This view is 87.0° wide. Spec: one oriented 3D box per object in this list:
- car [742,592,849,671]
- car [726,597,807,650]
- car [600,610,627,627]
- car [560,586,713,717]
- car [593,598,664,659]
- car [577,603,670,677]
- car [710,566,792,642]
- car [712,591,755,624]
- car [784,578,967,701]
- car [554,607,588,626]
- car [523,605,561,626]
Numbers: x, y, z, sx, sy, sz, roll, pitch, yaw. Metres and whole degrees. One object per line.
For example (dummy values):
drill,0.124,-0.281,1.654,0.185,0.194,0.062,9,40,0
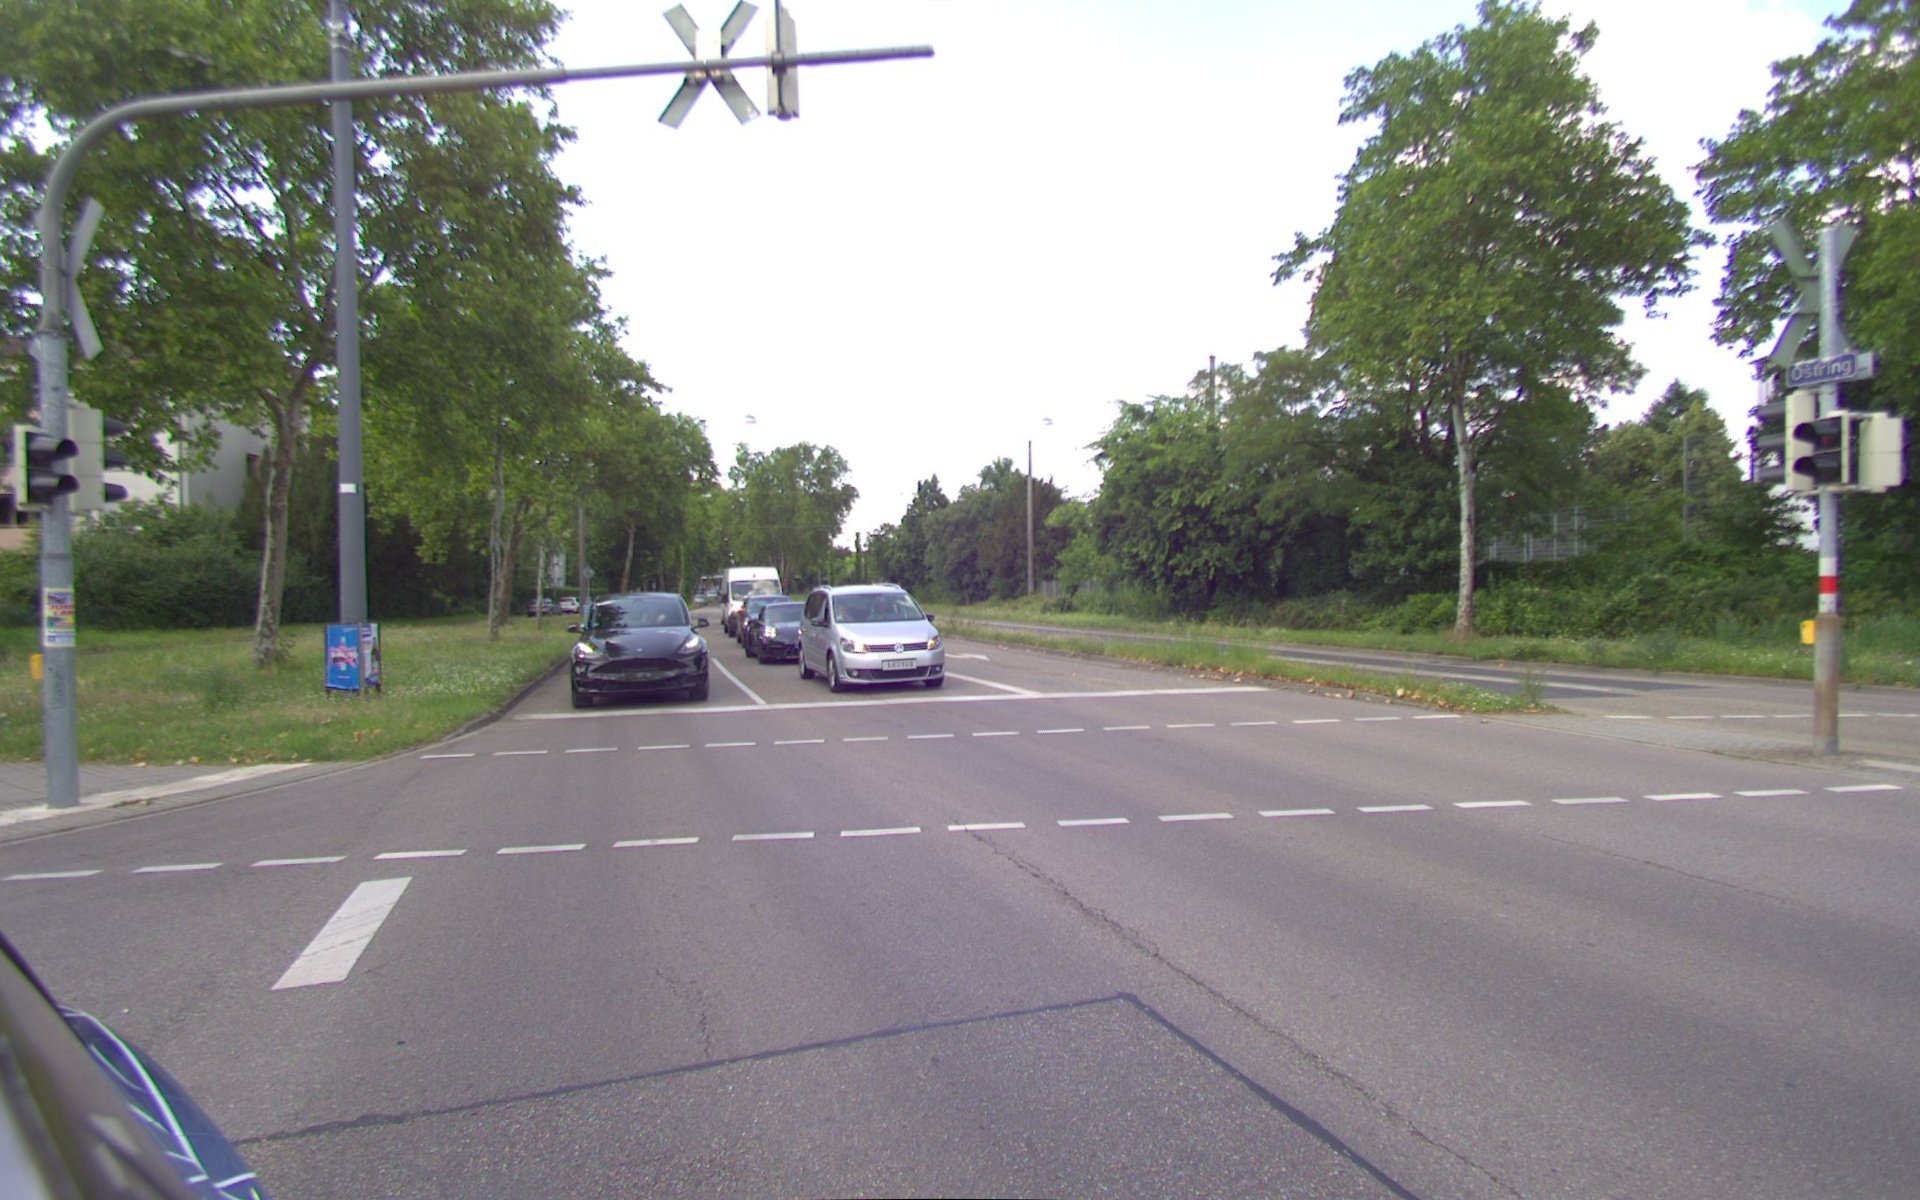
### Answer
car,-3.819,0.639,22.951,1.774,1.519,4.012,-3,1,-17
car,-5.838,0.640,30.126,1.735,1.385,4.357,-3,1,-19
car,-36.358,1.959,106.311,1.751,1.608,3.658,-1,-2,-3
car,-5.028,0.672,15.883,1.899,1.664,4.594,-3,1,-17
car,-9.786,0.775,29.848,1.771,1.581,4.516,-3,1,-19
car,-7.714,0.835,23.192,1.771,1.401,4.516,-3,1,-19
car,-7.956,0.105,38.078,2.189,2.549,5.952,-3,1,-19
car,-12.065,0.380,53.685,1.734,1.659,4.357,-1,0,-19
car,-1.560,0.549,16.724,1.898,1.664,4.516,-3,1,-19
car,-34.956,1.512,90.955,1.751,1.608,3.658,-1,-2,-3
car,-33.803,1.242,81.953,1.751,1.608,3.658,-1,-2,-3
